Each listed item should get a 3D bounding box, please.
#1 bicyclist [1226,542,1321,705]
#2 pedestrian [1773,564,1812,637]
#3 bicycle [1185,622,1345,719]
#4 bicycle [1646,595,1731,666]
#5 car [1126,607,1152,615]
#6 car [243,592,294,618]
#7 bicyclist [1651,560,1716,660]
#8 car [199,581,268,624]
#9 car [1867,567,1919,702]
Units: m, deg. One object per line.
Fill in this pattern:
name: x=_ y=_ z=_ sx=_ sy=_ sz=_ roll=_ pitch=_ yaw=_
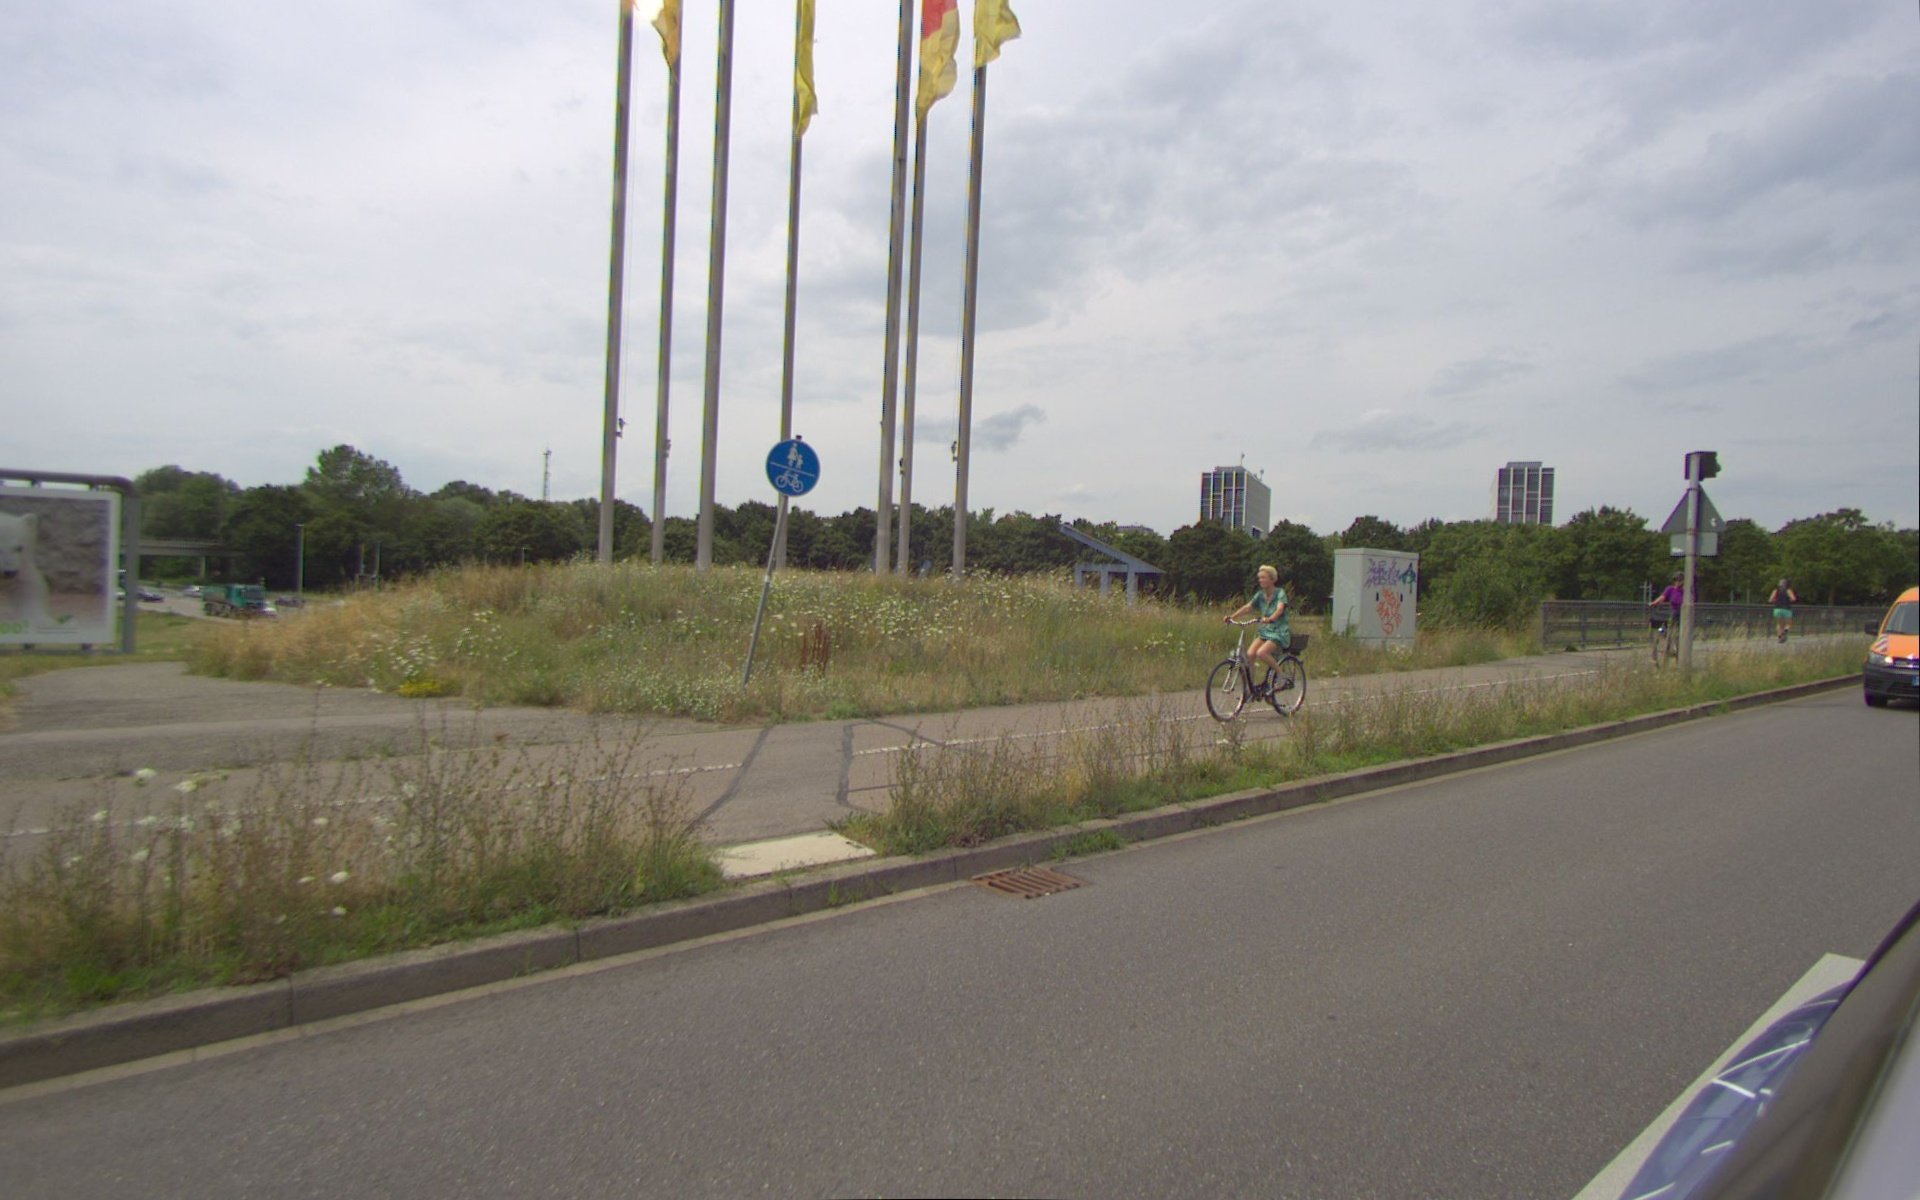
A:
bicyclist: x=3.402 y=0.240 z=10.992 sx=0.657 sy=1.686 sz=0.623 roll=2 pitch=3 yaw=-41
pedestrian: x=24.064 y=0.016 z=29.259 sx=0.656 sy=2.038 sz=0.629 roll=2 pitch=2 yaw=-39
bicycle: x=3.349 y=0.723 z=10.990 sx=2.117 sy=0.899 sz=0.624 roll=0 pitch=1 yaw=-41
bicycle: x=13.395 y=0.544 z=18.566 sx=2.418 sy=1.207 sz=0.695 roll=1 pitch=1 yaw=-41
car: x=28.446 y=1.735 z=160.897 sx=3.648 sy=1.288 sz=1.663 roll=1 pitch=0 yaw=27
car: x=-76.157 y=0.540 z=111.498 sx=6.049 sy=2.691 sz=2.529 roll=2 pitch=0 yaw=34
bicyclist: x=13.189 y=0.171 z=18.440 sx=0.974 sy=1.777 sz=0.704 roll=1 pitch=1 yaw=-41
car: x=-71.582 y=0.242 z=99.699 sx=7.466 sy=3.946 sz=3.301 roll=2 pitch=0 yaw=36
car: x=15.151 y=0.513 z=15.066 sx=4.352 sy=1.859 sz=1.891 roll=1 pitch=0 yaw=-41
